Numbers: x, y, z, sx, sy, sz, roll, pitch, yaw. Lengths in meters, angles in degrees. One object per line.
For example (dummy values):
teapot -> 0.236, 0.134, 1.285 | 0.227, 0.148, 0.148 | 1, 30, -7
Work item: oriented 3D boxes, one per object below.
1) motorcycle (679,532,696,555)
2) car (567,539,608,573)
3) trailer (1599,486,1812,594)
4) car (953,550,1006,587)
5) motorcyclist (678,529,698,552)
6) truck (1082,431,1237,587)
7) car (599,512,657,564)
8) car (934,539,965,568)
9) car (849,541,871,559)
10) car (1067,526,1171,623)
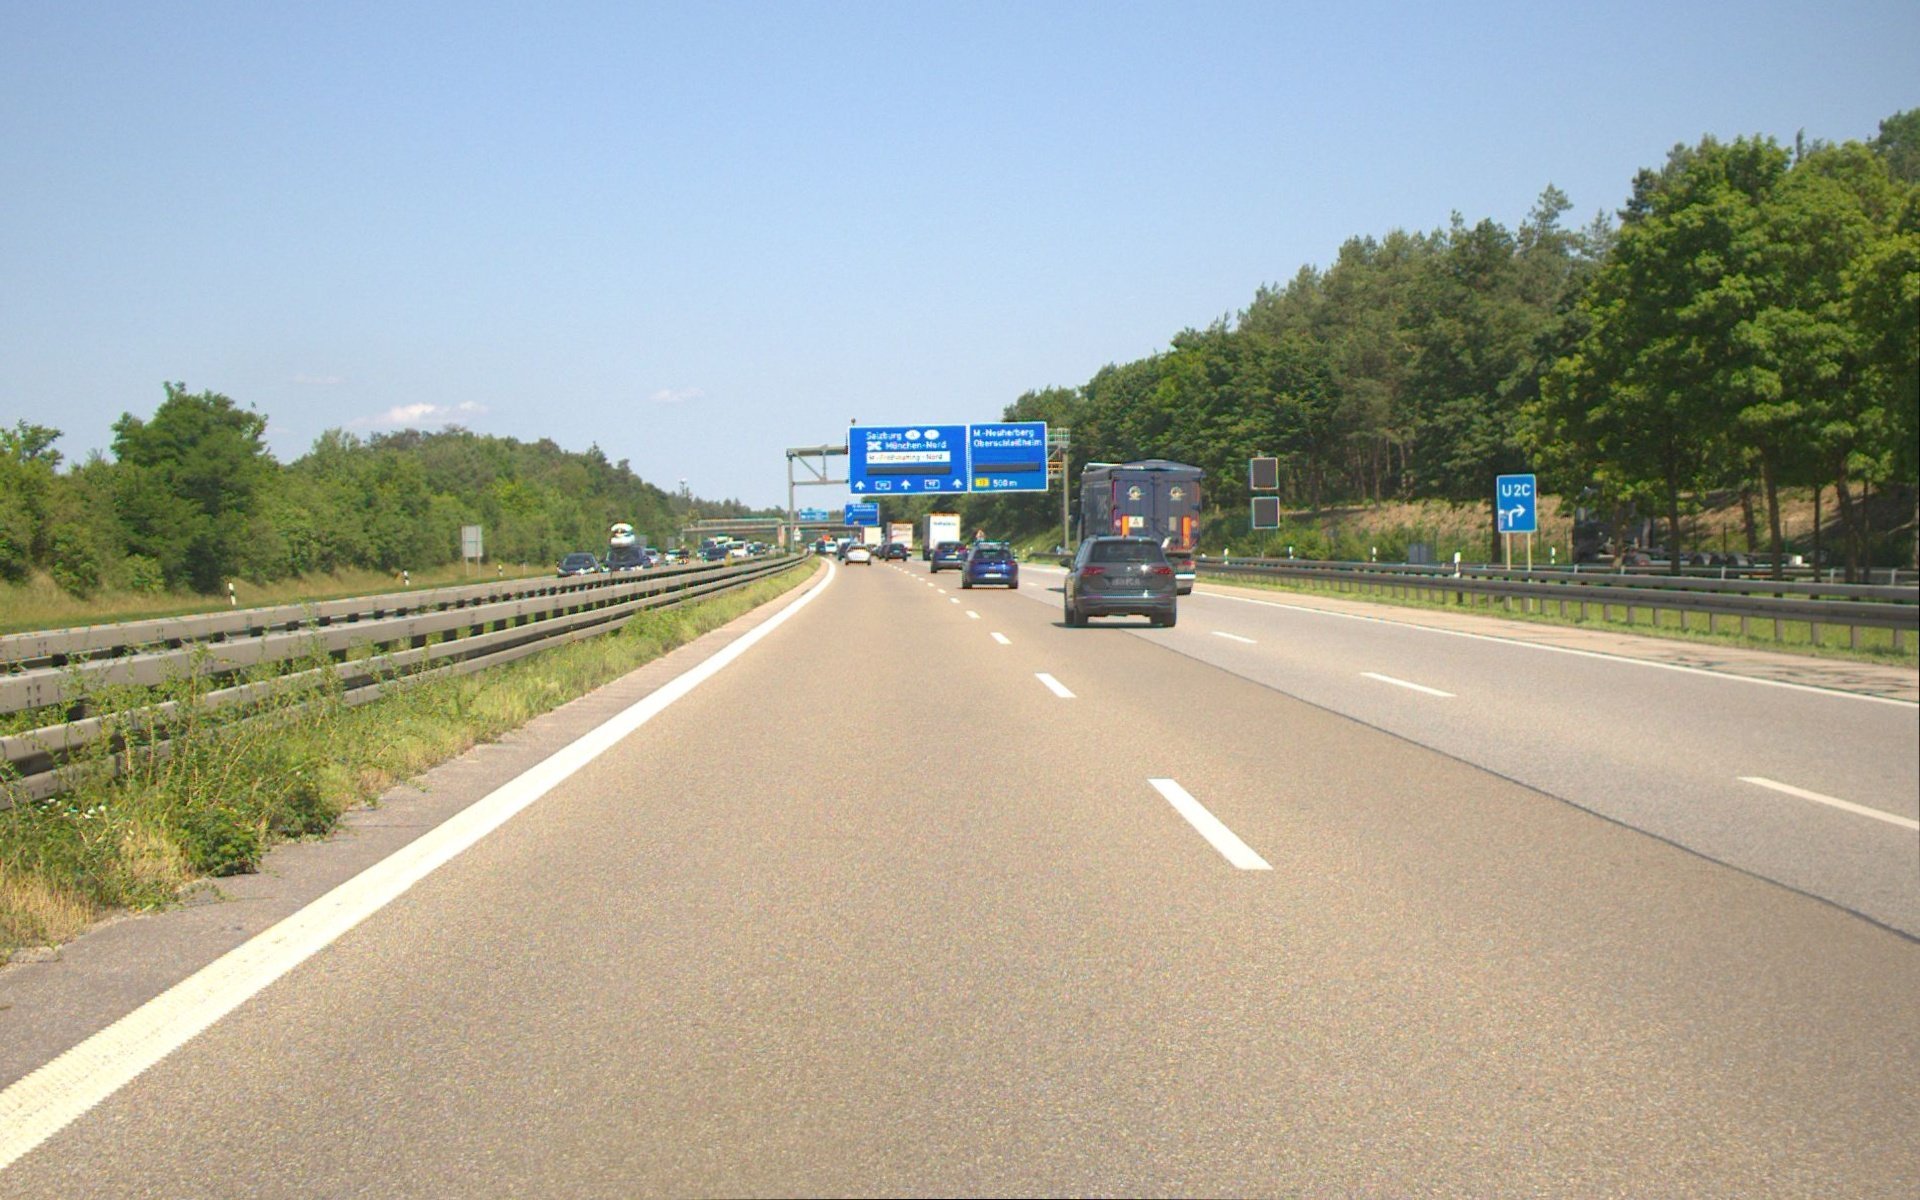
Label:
motorcycle -> -13.354, -2.763, 168.724 | 0.664, 1.072, 1.881 | -2, 1, 0
car -> -17.020, -2.014, 157.013 | 1.513, 1.481, 3.373 | -1, 1, -1
trailer -> 28.143, -2.279, 130.697 | 2.571, 3.901, 12.753 | 0, 1, -14
car -> 0.626, -1.052, 113.584 | 1.709, 1.151, 3.689 | -1, 1, 0
motorcyclist -> -13.361, -2.932, 168.687 | 0.875, 1.072, 0.811 | -2, 1, 0
truck -> 5.897, -2.706, 104.226 | 3.780, 4.407, 14.051 | 0, 1, 0
car -> -13.874, -2.589, 143.692 | 1.993, 2.102, 4.302 | -2, 1, -1
car -> -0.534, -2.341, 172.521 | 1.471, 1.393, 3.410 | 2, 1, 0
car -> -6.819, -3.430, 234.788 | 1.471, 1.223, 3.410 | -1, 1, 0
car -> 2.857, -0.483, 62.110 | 1.799, 1.663, 4.258 | 1, 1, 2
